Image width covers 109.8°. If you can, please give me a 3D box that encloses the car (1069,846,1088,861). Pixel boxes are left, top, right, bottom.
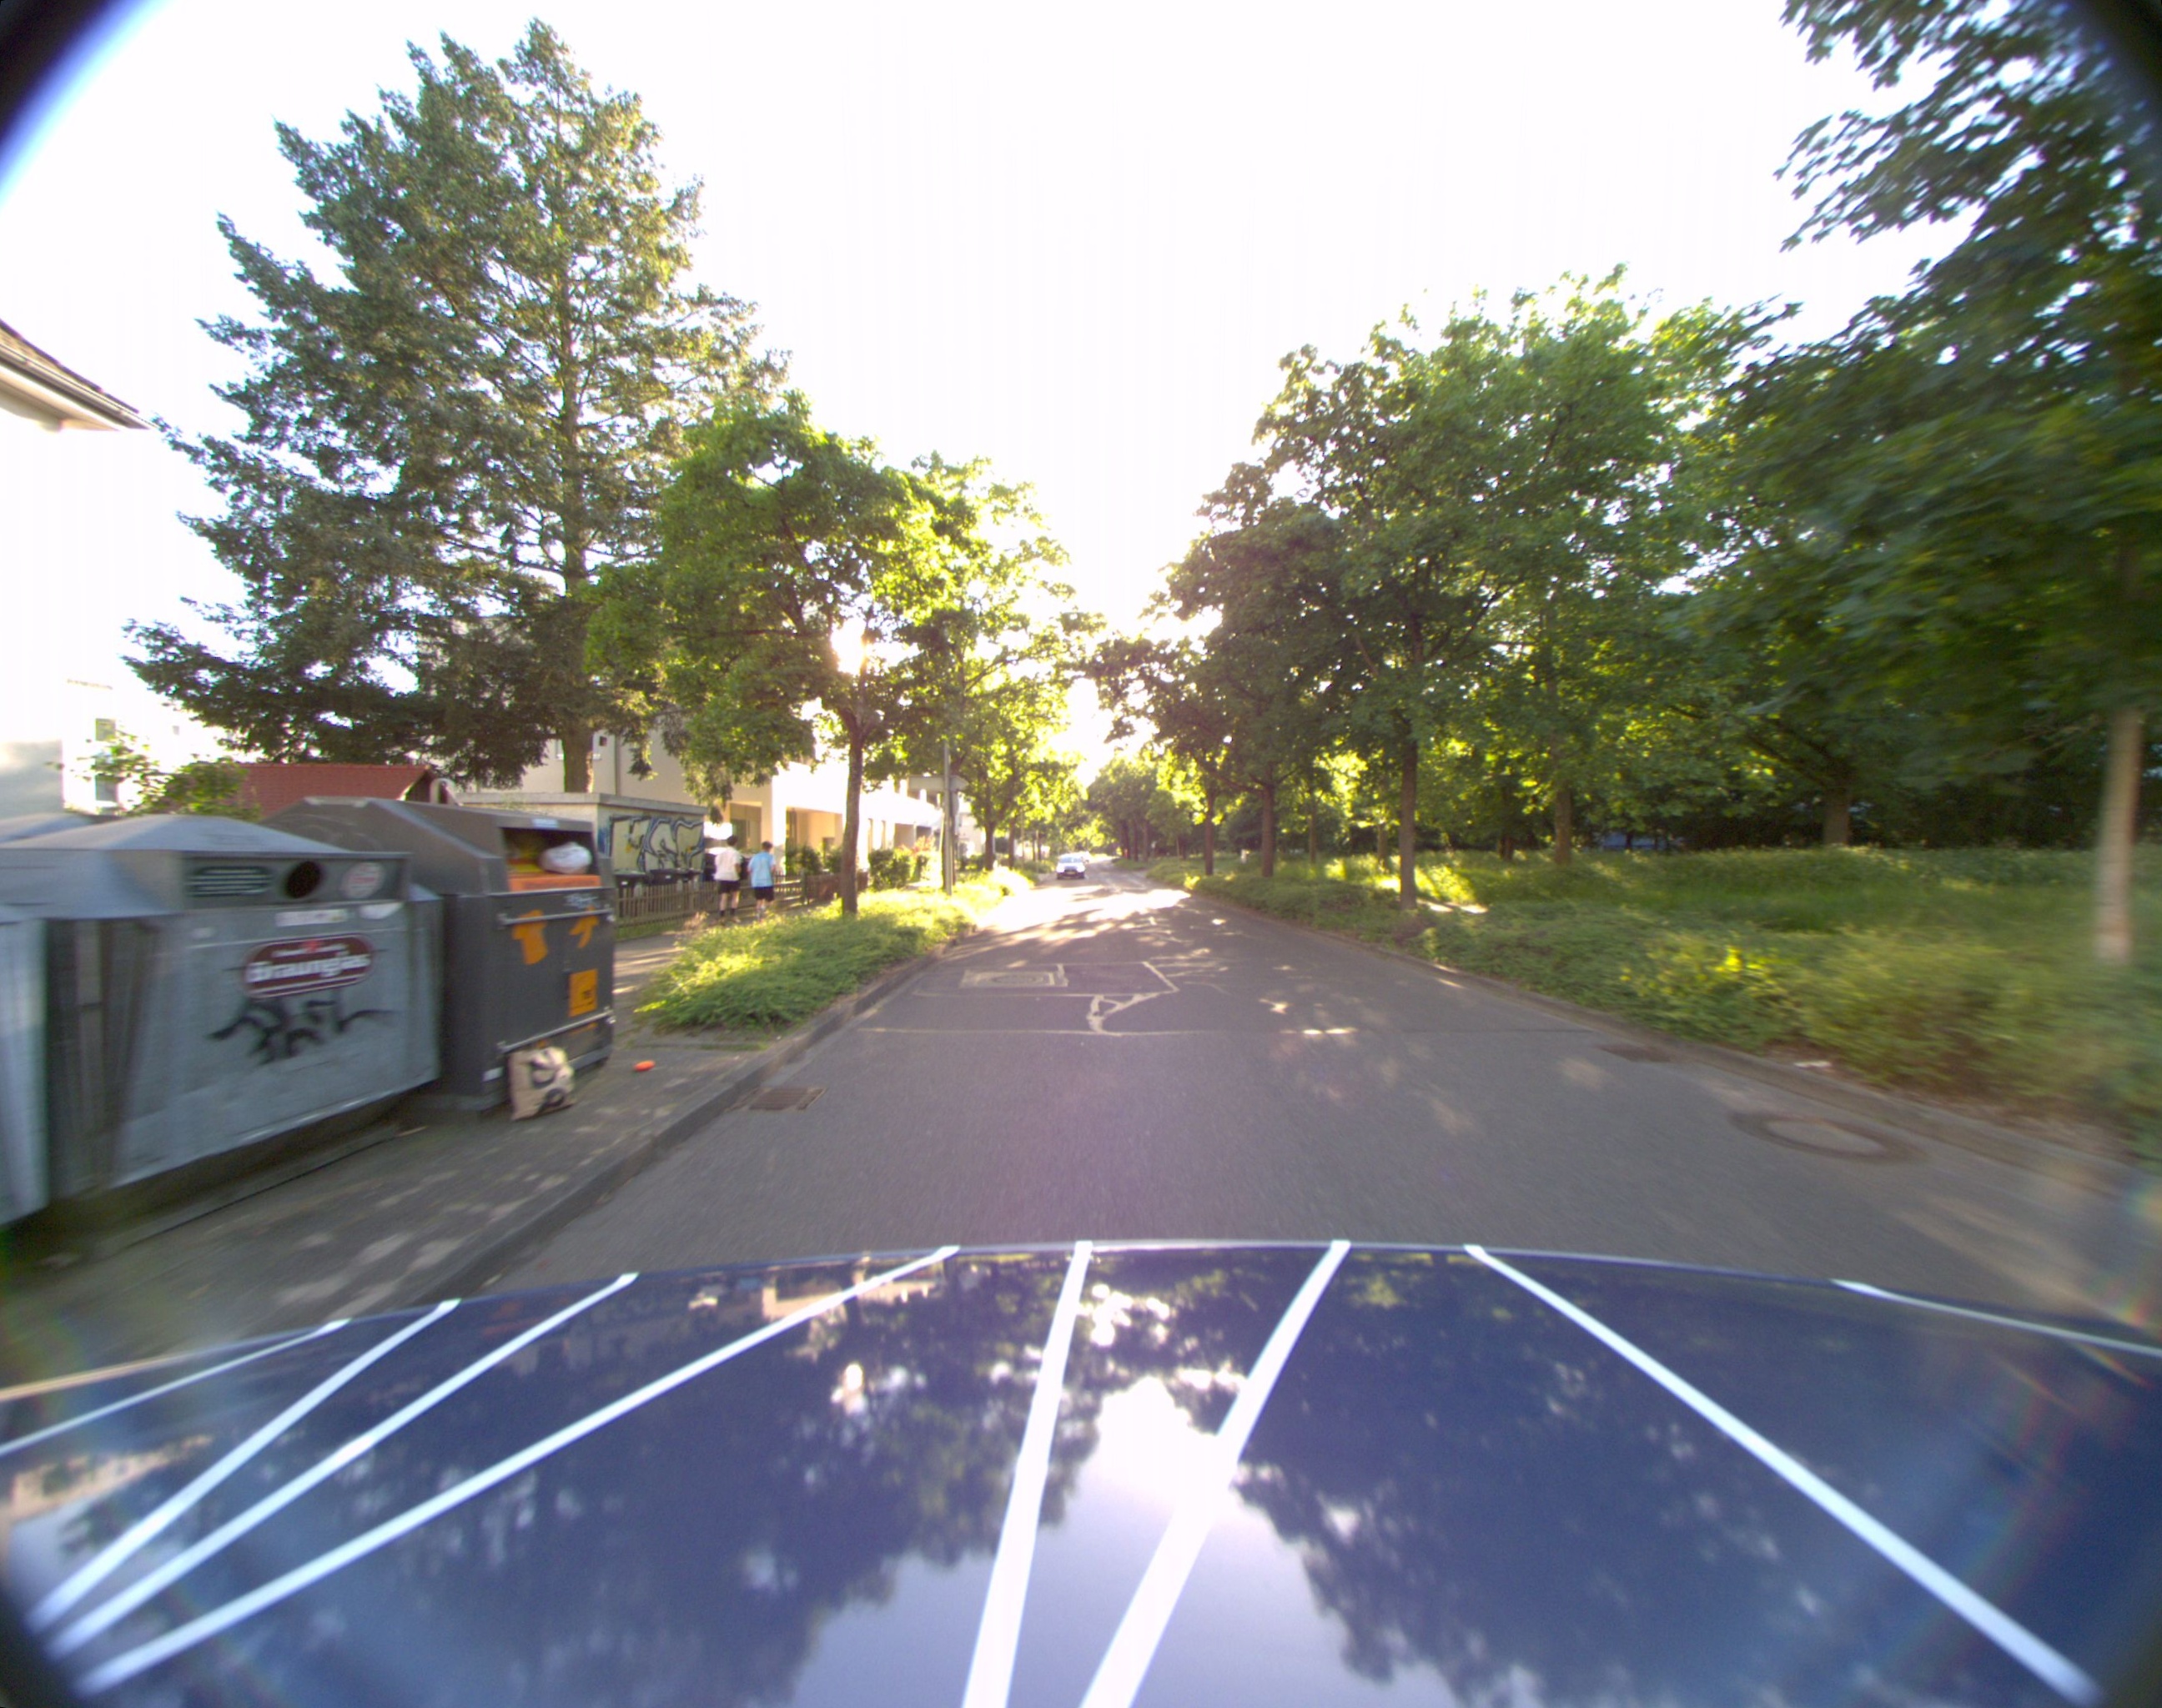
[{"bbox_3d":[-0.252,-0.082,86.251,1.998,1.531,4.000,-1,1,2],"label":"car"}]

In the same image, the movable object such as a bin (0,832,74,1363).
[{"bbox_3d":[-4.164,0.781,1.684,1.590,1.648,1.639,-1,1,-1],"label":"movable object such as a bin"}]

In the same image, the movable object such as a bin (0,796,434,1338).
[{"bbox_3d":[-3.950,0.720,3.226,1.150,1.817,1.386,-1,1,-1],"label":"movable object such as a bin"}]

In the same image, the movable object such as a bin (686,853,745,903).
[{"bbox_3d":[-10.950,0.698,22.829,1.081,1.422,1.387,1,1,-1],"label":"movable object such as a bin"}]

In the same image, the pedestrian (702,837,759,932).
[{"bbox_3d":[-7.230,0.600,15.709,0.644,1.883,1.018,-1,1,0],"label":"pedestrian"}]

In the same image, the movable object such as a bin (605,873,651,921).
[{"bbox_3d":[-10.137,0.958,17.023,0.645,1.024,0.645,1,1,-1],"label":"movable object such as a bin"}]

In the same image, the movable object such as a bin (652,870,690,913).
[{"bbox_3d":[-10.144,0.918,18.816,0.616,1.024,0.594,1,1,-1],"label":"movable object such as a bin"}]

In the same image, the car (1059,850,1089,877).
[{"bbox_3d":[-0.523,0.601,50.354,1.890,1.612,4.617,-1,1,-2],"label":"car"}]

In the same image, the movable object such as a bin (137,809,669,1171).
[{"bbox_3d":[-3.891,0.700,4.646,1.925,1.843,1.393,-1,1,-1],"label":"movable object such as a bin"}]

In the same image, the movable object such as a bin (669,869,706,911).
[{"bbox_3d":[-10.157,0.929,19.638,0.607,1.024,0.641,1,1,-1],"label":"movable object such as a bin"}]

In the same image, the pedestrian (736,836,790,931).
[{"bbox_3d":[-6.528,0.587,15.628,0.674,1.883,0.895,-1,1,0],"label":"pedestrian"}]

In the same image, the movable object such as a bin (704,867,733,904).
[{"bbox_3d":[-10.367,0.890,21.745,0.539,1.024,0.615,1,1,-1],"label":"movable object such as a bin"}]

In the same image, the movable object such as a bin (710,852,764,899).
[{"bbox_3d":[-10.979,0.666,24.293,1.081,1.419,1.366,1,1,-1],"label":"movable object such as a bin"}]
